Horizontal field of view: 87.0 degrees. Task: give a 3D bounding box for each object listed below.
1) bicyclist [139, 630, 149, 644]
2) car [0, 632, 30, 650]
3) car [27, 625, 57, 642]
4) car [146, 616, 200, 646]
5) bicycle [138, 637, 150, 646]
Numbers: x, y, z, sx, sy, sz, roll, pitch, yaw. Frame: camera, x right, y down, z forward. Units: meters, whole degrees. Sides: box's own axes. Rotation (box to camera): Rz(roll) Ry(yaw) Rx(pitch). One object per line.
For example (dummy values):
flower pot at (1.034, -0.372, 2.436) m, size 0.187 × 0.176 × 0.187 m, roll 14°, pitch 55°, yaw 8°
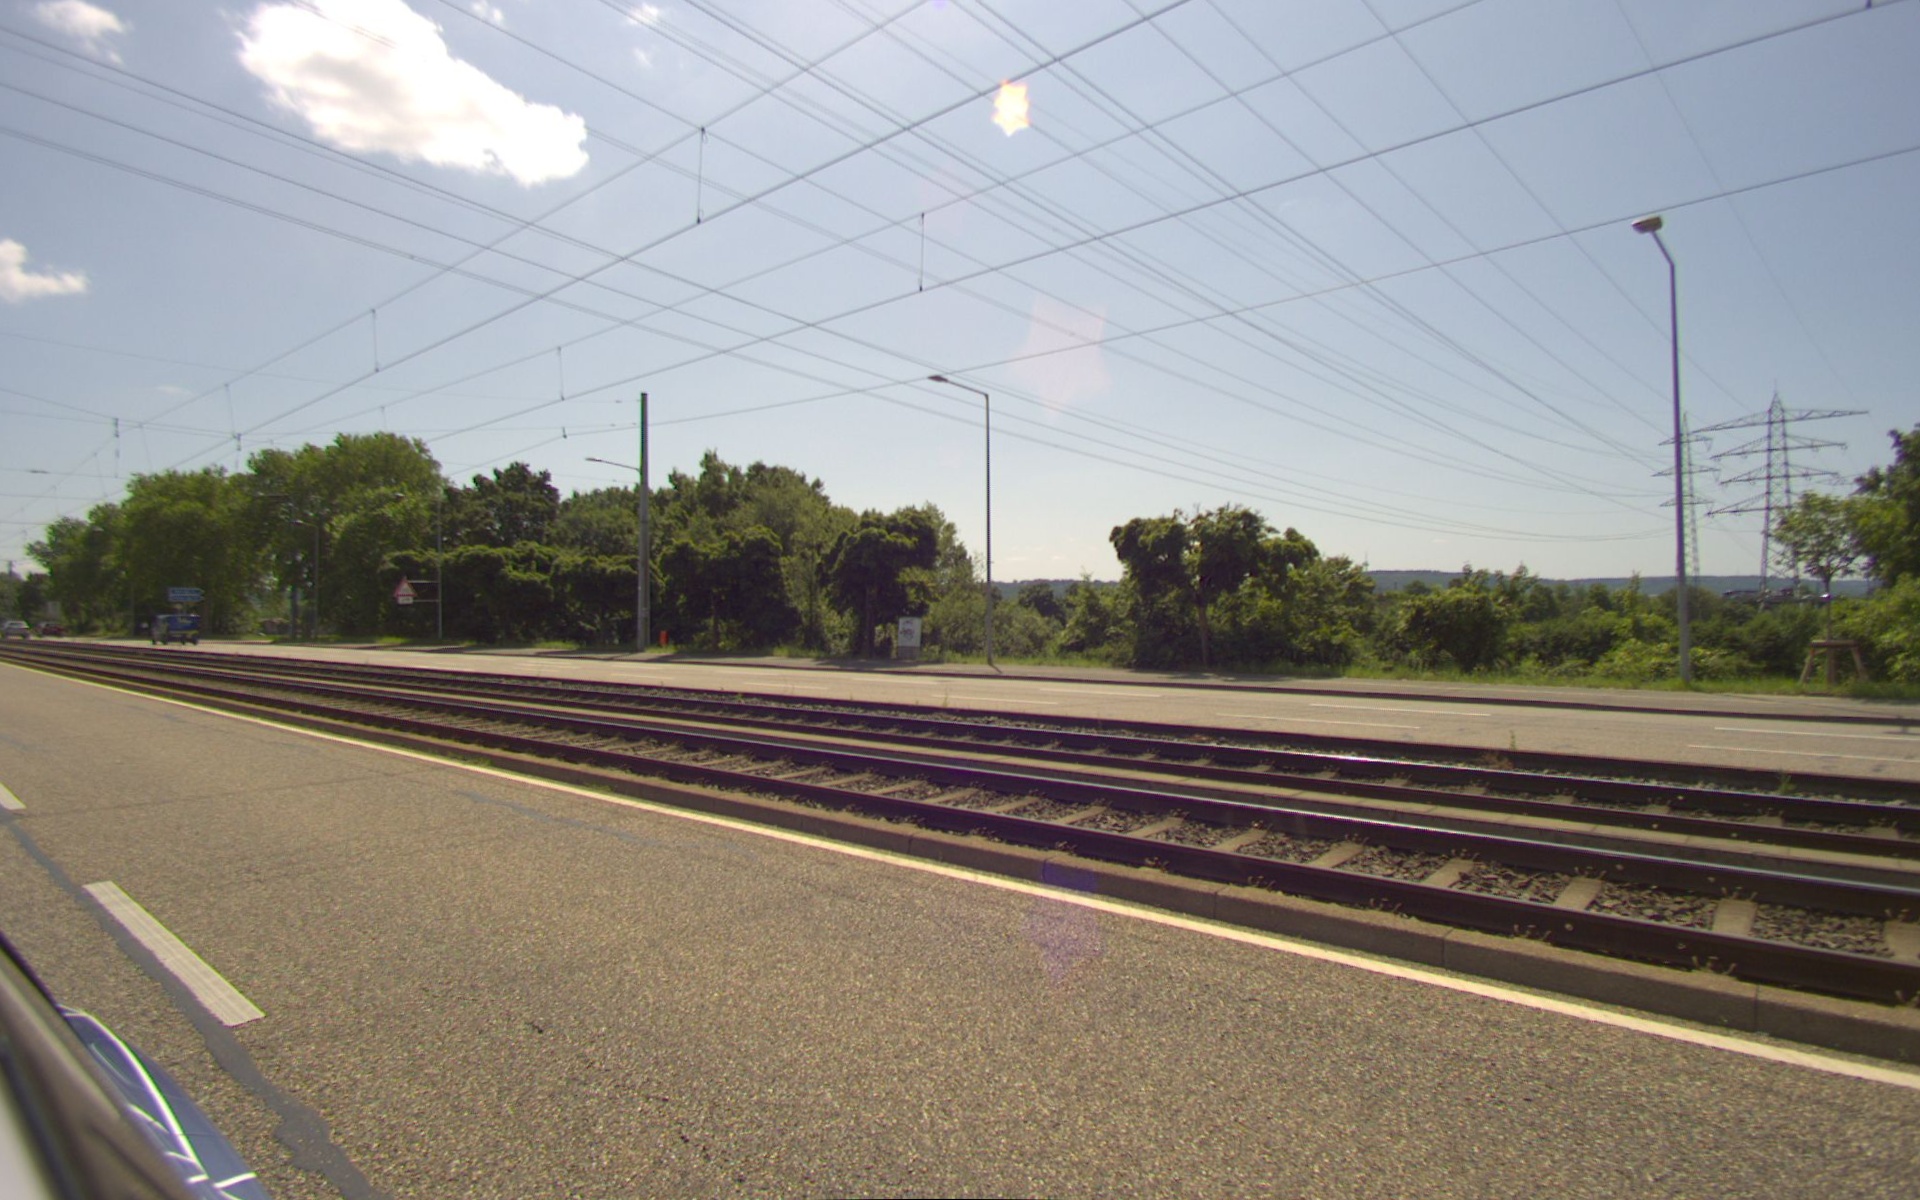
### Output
bicyclist at (-87.141, 3.971, 108.126) m, size 1.159 × 1.529 × 0.615 m, roll -2°, pitch -2°, yaw 41°
car at (-89.332, 3.873, 95.503) m, size 4.491 × 1.638 × 1.782 m, roll -2°, pitch -3°, yaw 41°
car at (-95.386, 3.490, 105.198) m, size 4.209 × 1.638 × 1.782 m, roll -2°, pitch -3°, yaw 41°
car at (-52.573, 2.058, 67.580) m, size 5.005 × 1.942 × 1.837 m, roll -1°, pitch -3°, yaw 41°
bicycle at (-87.147, 4.393, 108.104) m, size 2.090 × 0.946 × 0.615 m, roll -1°, pitch -2°, yaw 41°
